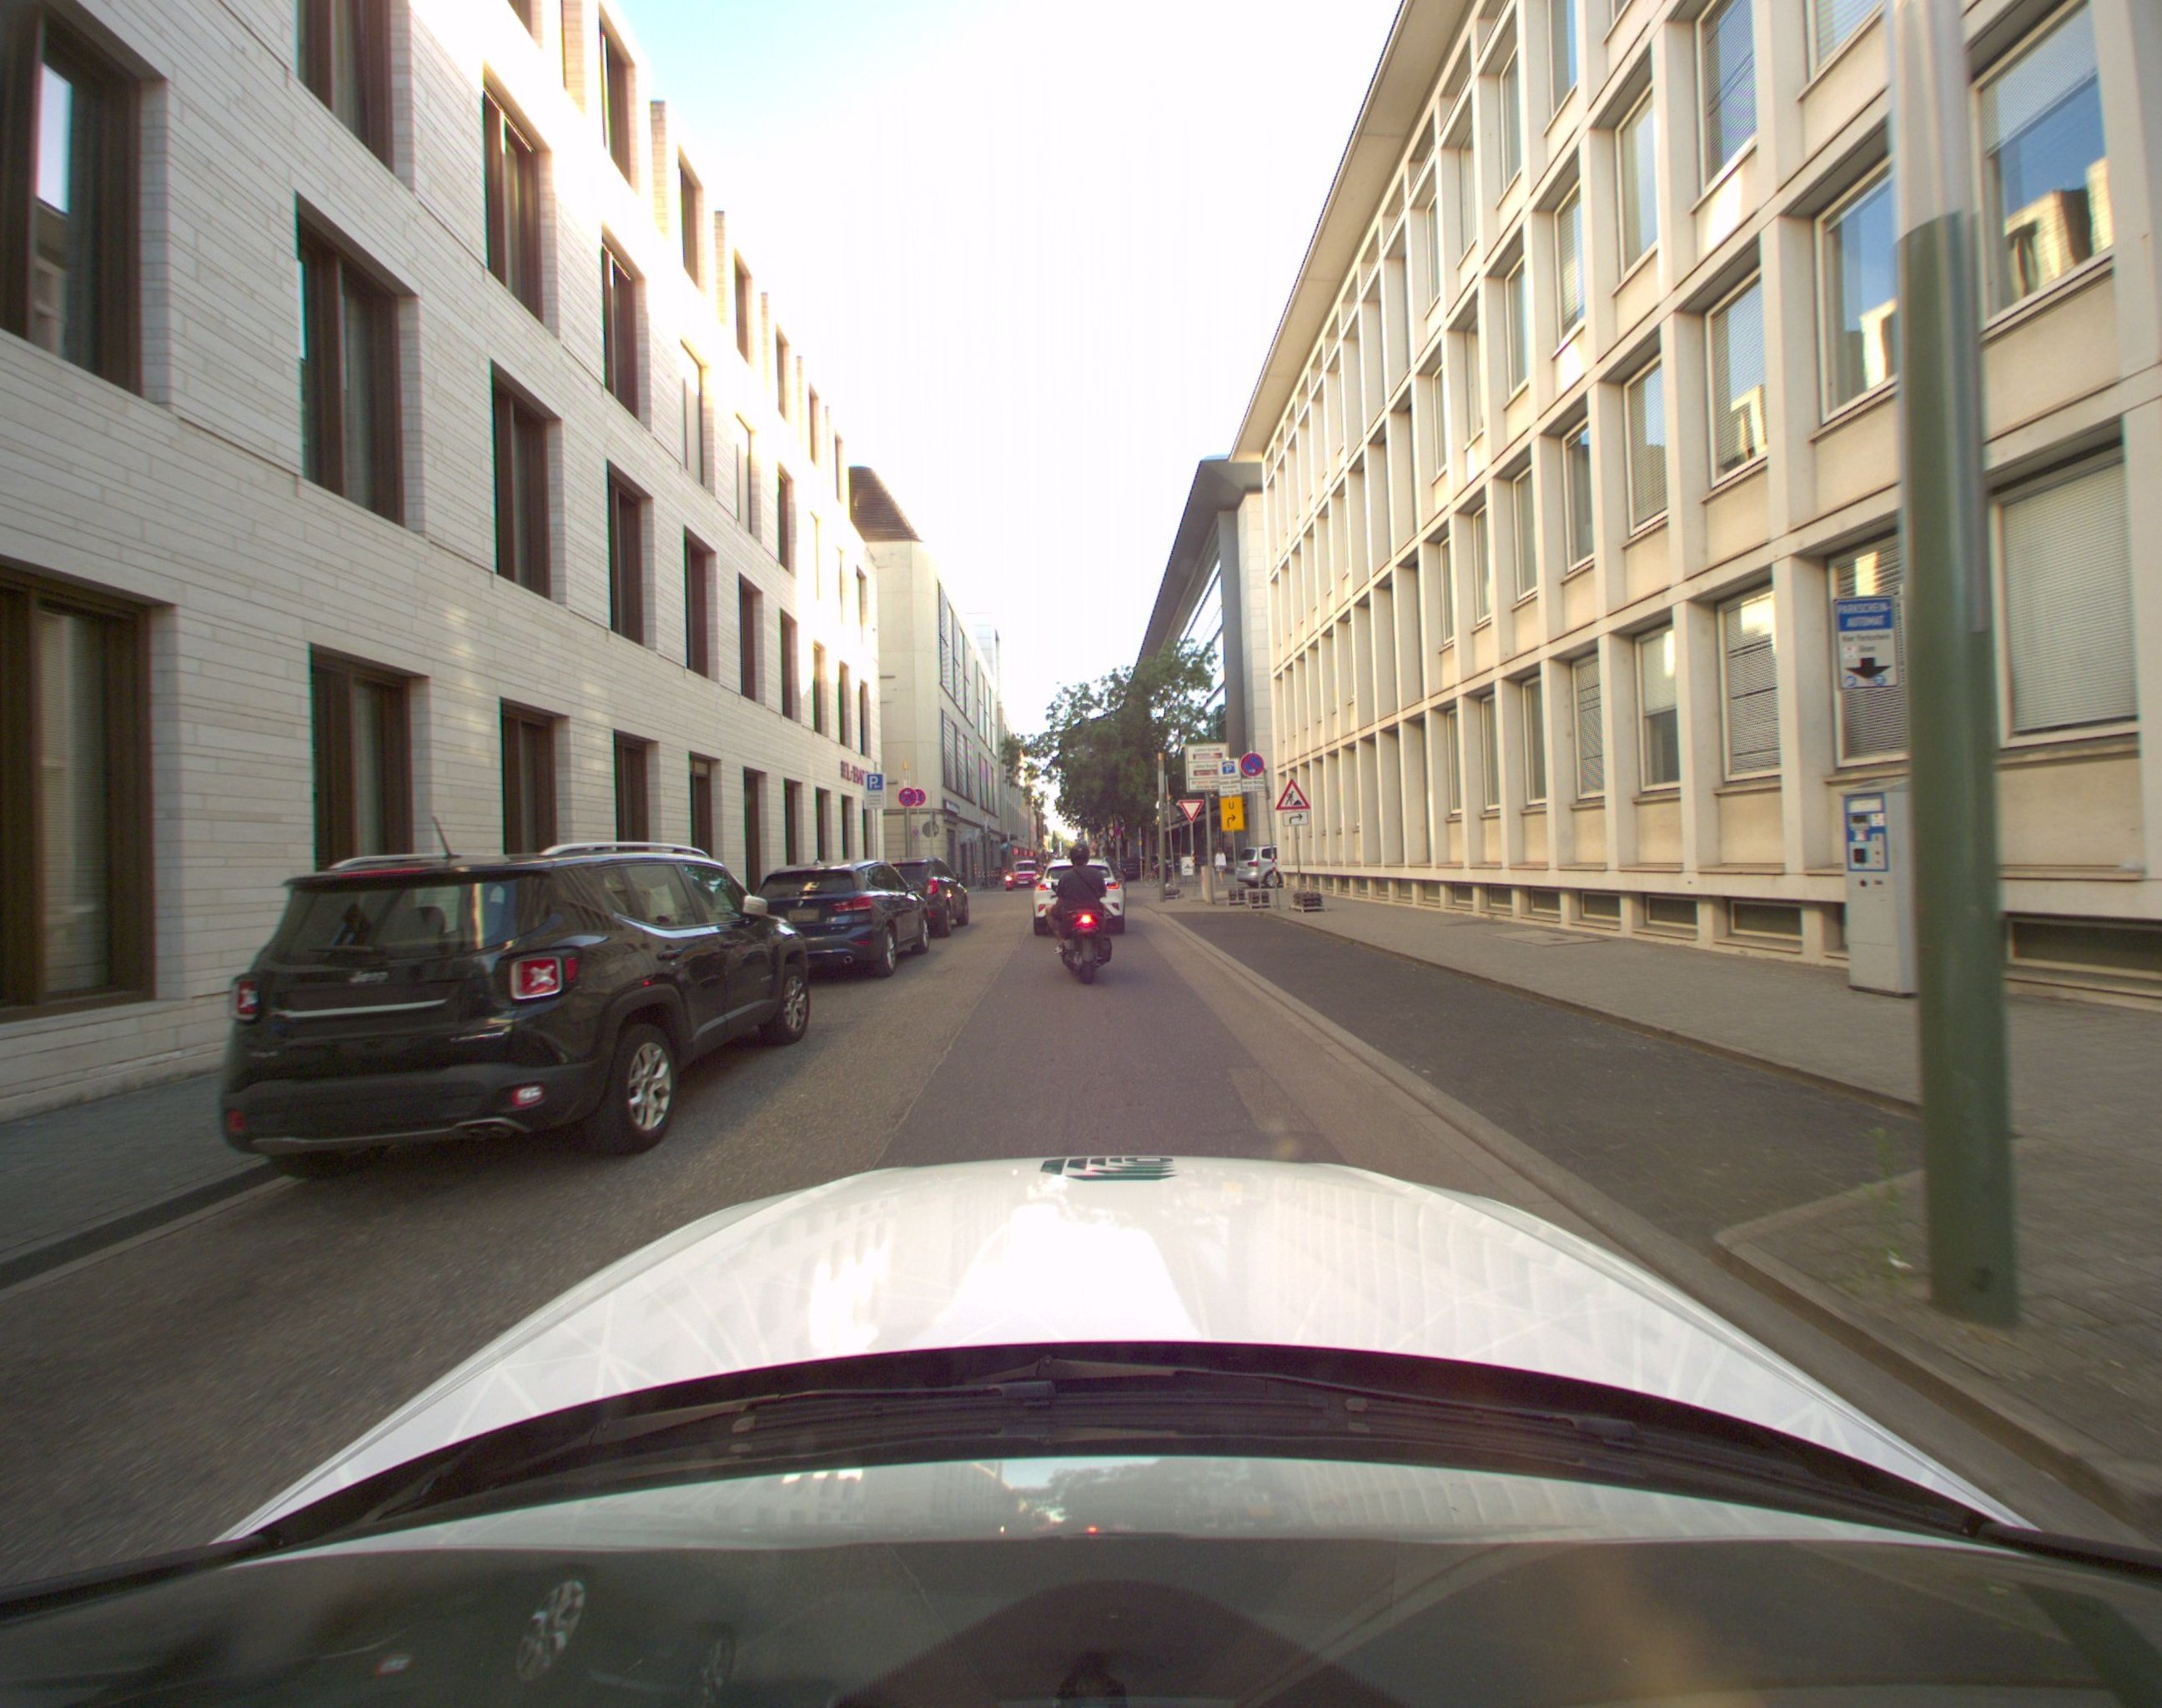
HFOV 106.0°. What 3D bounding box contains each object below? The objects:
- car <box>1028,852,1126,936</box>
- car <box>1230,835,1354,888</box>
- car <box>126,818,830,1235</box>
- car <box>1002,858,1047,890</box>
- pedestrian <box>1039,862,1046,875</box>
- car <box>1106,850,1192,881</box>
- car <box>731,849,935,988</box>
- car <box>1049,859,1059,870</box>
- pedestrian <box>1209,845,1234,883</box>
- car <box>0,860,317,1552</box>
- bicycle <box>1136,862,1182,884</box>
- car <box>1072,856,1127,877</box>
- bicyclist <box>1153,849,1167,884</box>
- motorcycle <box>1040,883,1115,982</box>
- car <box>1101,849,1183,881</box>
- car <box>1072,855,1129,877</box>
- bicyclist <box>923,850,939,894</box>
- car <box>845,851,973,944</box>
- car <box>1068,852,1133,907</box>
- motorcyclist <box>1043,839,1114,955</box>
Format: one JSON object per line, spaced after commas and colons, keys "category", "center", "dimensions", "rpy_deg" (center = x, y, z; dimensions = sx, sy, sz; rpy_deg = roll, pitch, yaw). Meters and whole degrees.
{"category": "car", "center": [-0.117, 0.757, 17.585], "dimensions": [1.817, 1.541, 4.261], "rpy_deg": [-2, 0, -1]}
{"category": "car", "center": [8.510, 0.268, 32.939], "dimensions": [4.484, 1.644, 1.821], "rpy_deg": [-5, 4, -13]}
{"category": "car", "center": [-3.278, 0.753, 5.621], "dimensions": [1.817, 1.714, 4.015], "rpy_deg": [-4, 0, -1]}
{"category": "car", "center": [-2.820, 1.037, 41.433], "dimensions": [1.815, 1.465, 4.264], "rpy_deg": [-2, -2, 2]}
{"category": "pedestrian", "center": [-4.653, 1.779, 98.059], "dimensions": [0.729, 1.574, 0.636], "rpy_deg": [-1, -1, 0]}
{"category": "car", "center": [4.153, 0.714, 50.452], "dimensions": [4.994, 1.451, 1.998], "rpy_deg": [-6, -1, -3]}
{"category": "car", "center": [-3.418, 0.789, 12.097], "dimensions": [1.735, 1.594, 4.151], "rpy_deg": [-4, 0, -1]}
{"category": "car", "center": [-5.444, 2.098, 162.710], "dimensions": [1.989, 2.329, 5.015], "rpy_deg": [0, -1, -3]}
{"category": "pedestrian", "center": [6.695, 0.478, 38.905], "dimensions": [0.902, 1.706, 0.834], "rpy_deg": [-5, -1, 0]}
{"category": "car", "center": [-3.321, 0.820, 0.435], "dimensions": [1.817, 1.541, 4.261], "rpy_deg": [-2, 0, -1]}
{"category": "bicycle", "center": [3.639, 0.902, 38.035], "dimensions": [2.091, 0.995, 0.519], "rpy_deg": [-1, -1, 5]}
{"category": "car", "center": [1.698, 1.184, 77.219], "dimensions": [4.994, 1.499, 1.998], "rpy_deg": [-6, -1, -3]}
{"category": "bicyclist", "center": [3.700, 0.578, 38.043], "dimensions": [0.627, 1.625, 0.499], "rpy_deg": [-1, -1, 5]}
{"category": "motorcycle", "center": [-0.030, 0.959, 10.516], "dimensions": [0.869, 1.109, 1.839], "rpy_deg": [-1, -1, 0]}
{"category": "car", "center": [3.920, 0.716, 52.847], "dimensions": [4.994, 1.499, 1.998], "rpy_deg": [-6, -1, -3]}
{"category": "car", "center": [1.772, 1.119, 74.766], "dimensions": [4.994, 1.499, 1.998], "rpy_deg": [-6, -1, -3]}
{"category": "bicyclist", "center": [-5.912, 0.718, 32.191], "dimensions": [0.551, 1.732, 0.498], "rpy_deg": [-1, -2, -17]}
{"category": "car", "center": [-3.590, 0.831, 17.799], "dimensions": [1.817, 1.677, 4.262], "rpy_deg": [-4, 0, -1]}
{"category": "car", "center": [0.563, 0.759, 26.571], "dimensions": [1.817, 1.541, 4.362], "rpy_deg": [-4, 0, -1]}
{"category": "motorcyclist", "center": [-0.029, 0.541, 10.411], "dimensions": [0.864, 1.427, 0.455], "rpy_deg": [-1, -1, 0]}
